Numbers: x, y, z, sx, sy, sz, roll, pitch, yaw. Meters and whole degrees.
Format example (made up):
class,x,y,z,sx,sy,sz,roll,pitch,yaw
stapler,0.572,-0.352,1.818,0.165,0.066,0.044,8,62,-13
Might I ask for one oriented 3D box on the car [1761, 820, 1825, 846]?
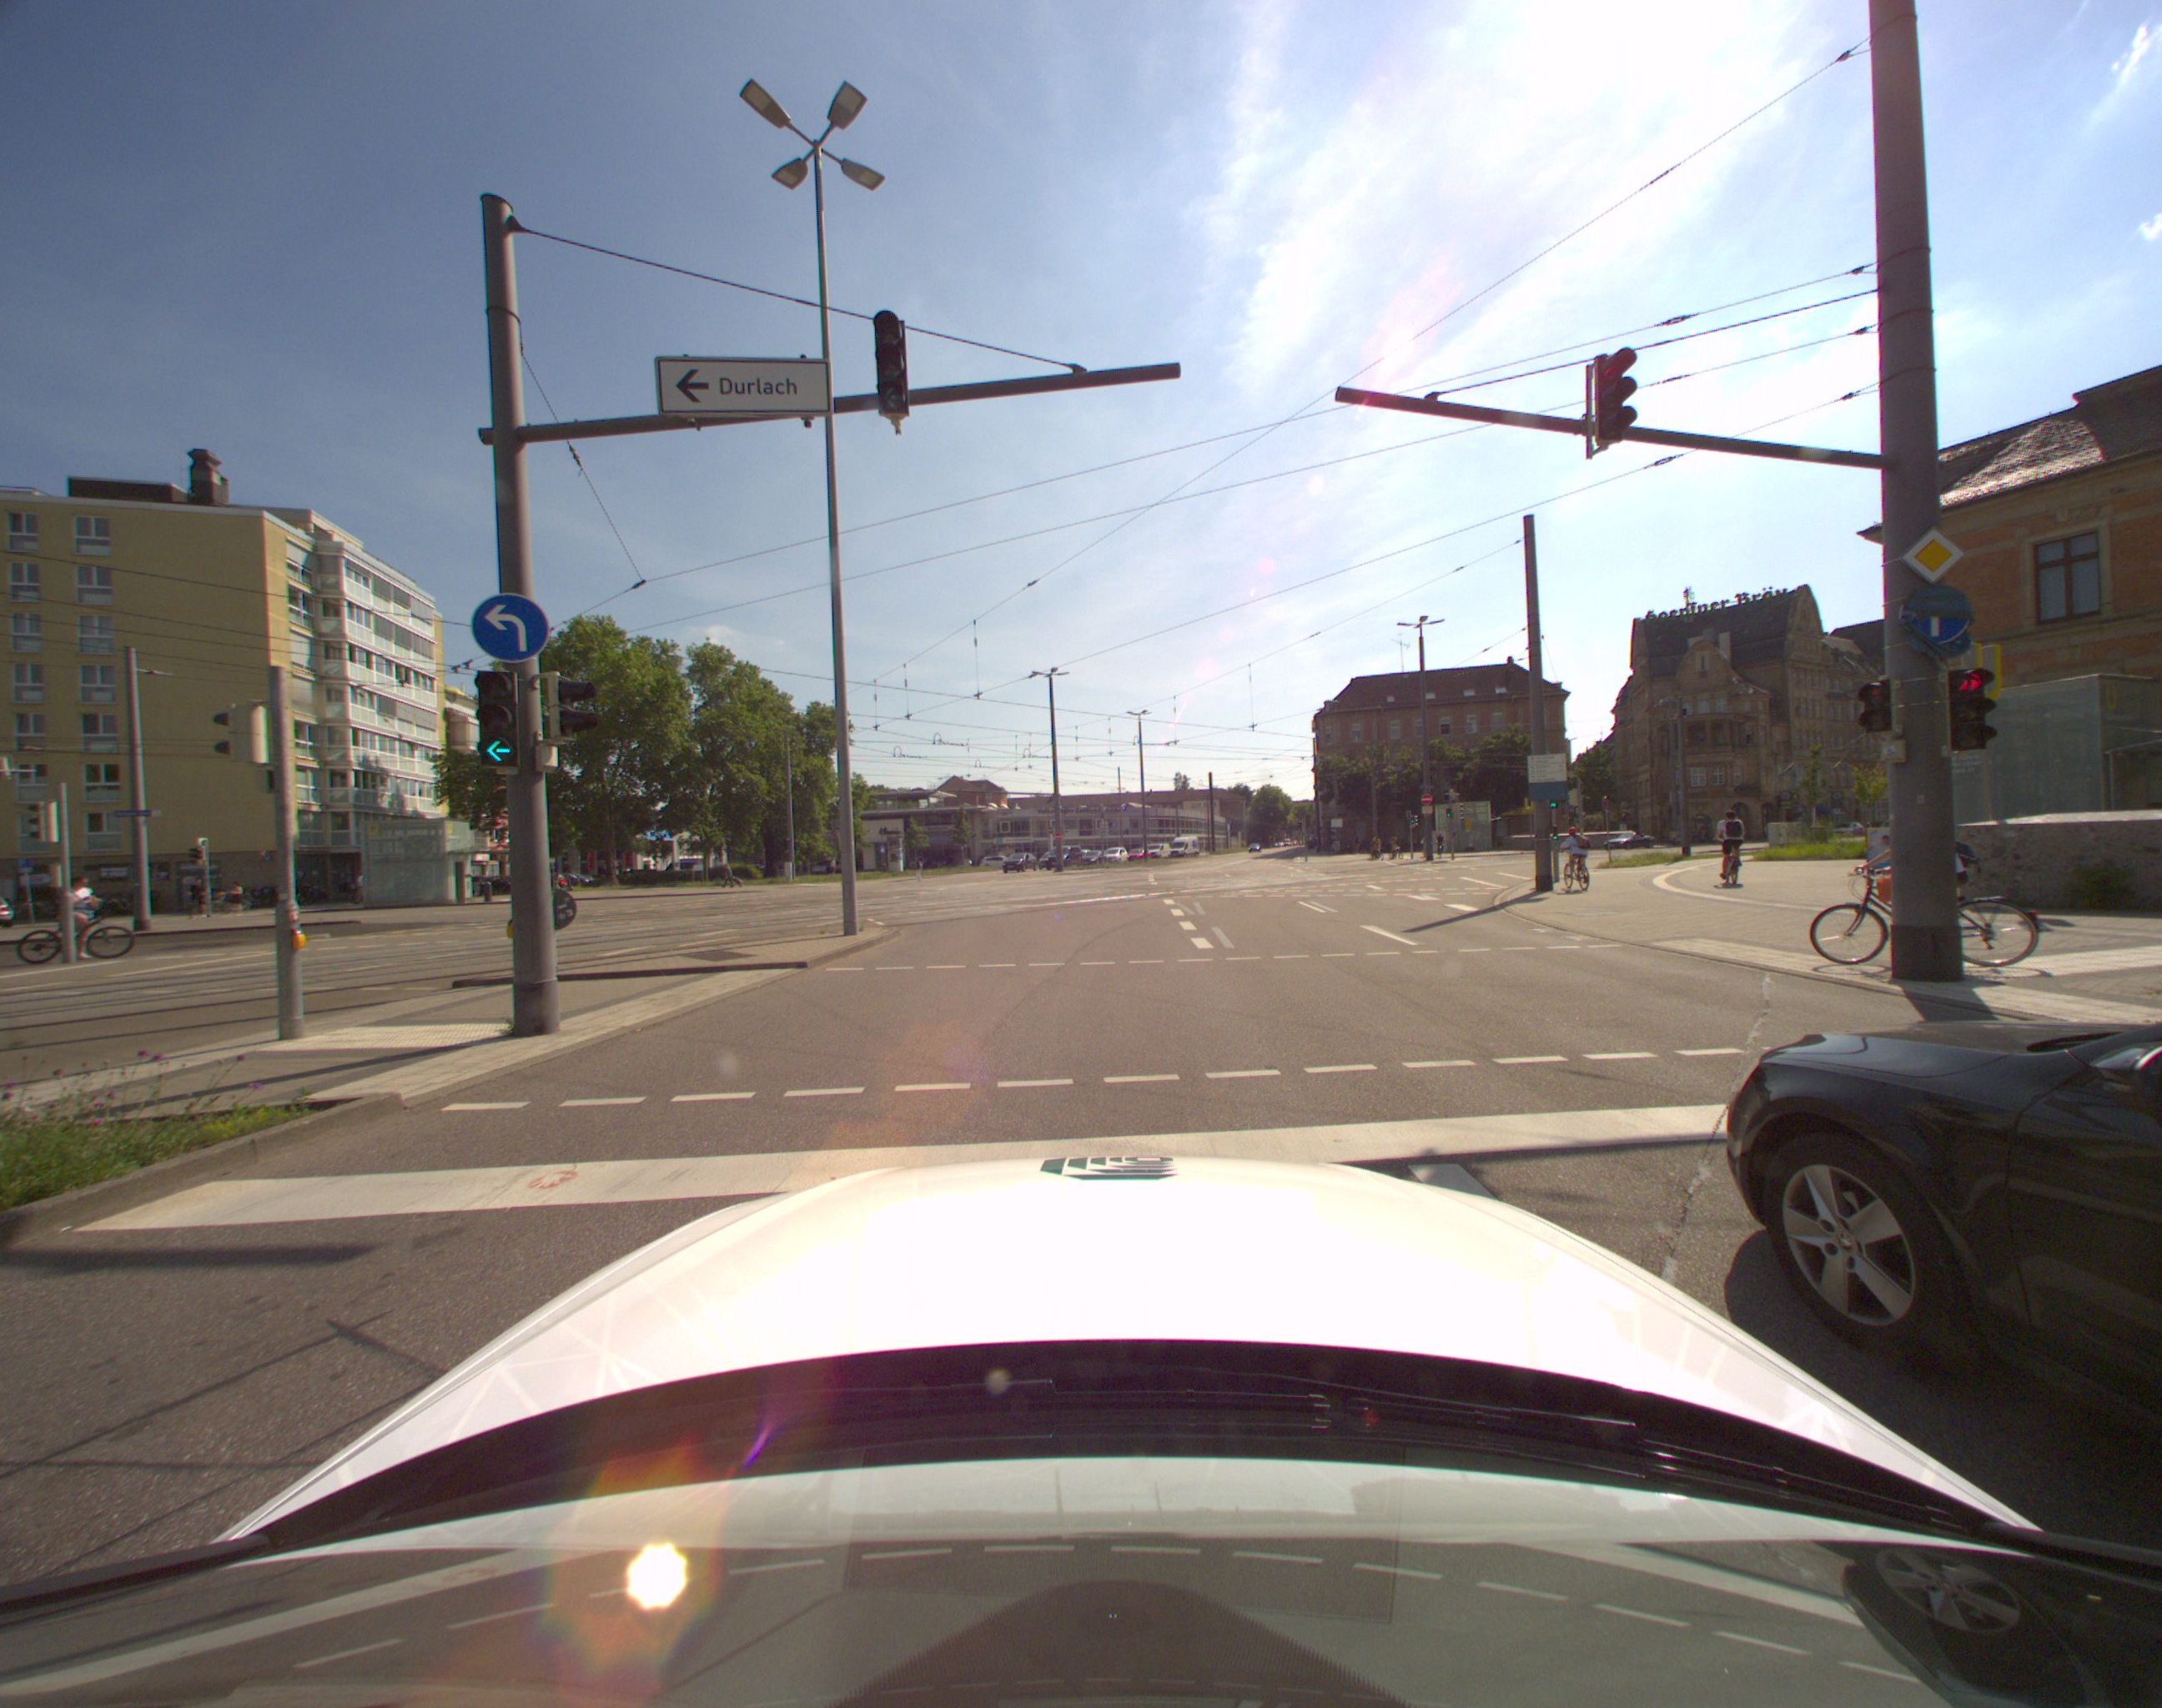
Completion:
class,x,y,z,sx,sy,sz,roll,pitch,yaw
car,39.132,-1.157,44.758,3.464,1.313,1.655,-3,0,-32

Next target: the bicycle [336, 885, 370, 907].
class,x,y,z,sx,sy,sz,roll,pitch,yaw
bicycle,-44.386,2.539,49.677,0.581,1.219,1.754,-3,1,-5

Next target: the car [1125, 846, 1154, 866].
class,x,y,z,sx,sy,sz,roll,pitch,yaw
car,6.143,0.217,85.369,1.879,1.917,4.220,-3,-1,19

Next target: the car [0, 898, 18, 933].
class,x,y,z,sx,sy,sz,roll,pitch,yaw
car,-49.267,2.827,36.501,3.948,1.440,1.825,-5,-2,35

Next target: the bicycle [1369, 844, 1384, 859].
class,x,y,z,sx,sy,sz,roll,pitch,yaw
bicycle,22.427,-0.191,61.851,0.919,1.069,2.758,-1,-1,16

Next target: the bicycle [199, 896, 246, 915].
class,x,y,z,sx,sy,sz,roll,pitch,yaw
bicycle,-48.414,2.903,45.932,1.751,0.965,0.582,-3,1,-11

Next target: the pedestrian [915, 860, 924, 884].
class,x,y,z,sx,sy,sz,roll,pitch,yaw
pedestrian,-10.656,1.171,53.595,0.456,1.605,0.396,0,-1,-34

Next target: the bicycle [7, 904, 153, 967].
class,x,y,z,sx,sy,sz,roll,pitch,yaw
bicycle,-20.916,1.687,17.049,1.843,1.083,0.749,-4,0,-9

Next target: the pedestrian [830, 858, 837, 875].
class,x,y,z,sx,sy,sz,roll,pitch,yaw
pedestrian,-23.078,1.181,76.025,0.388,1.596,0.467,-1,-1,25

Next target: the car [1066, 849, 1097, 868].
class,x,y,z,sx,sy,sz,roll,pitch,yaw
car,0.084,0.442,78.289,1.638,1.739,4.220,-3,-1,19

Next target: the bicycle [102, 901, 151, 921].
class,x,y,z,sx,sy,sz,roll,pitch,yaw
bicycle,-52.063,3.104,44.447,1.750,0.916,0.582,-3,1,-8

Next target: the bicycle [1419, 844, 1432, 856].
class,x,y,z,sx,sy,sz,roll,pitch,yaw
bicycle,25.919,-0.323,61.339,0.497,0.866,1.590,0,0,7

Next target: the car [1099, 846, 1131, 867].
class,x,y,z,sx,sy,sz,roll,pitch,yaw
car,3.281,0.275,78.535,1.879,1.917,4.220,-3,-1,19

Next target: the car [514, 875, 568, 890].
class,x,y,z,sx,sy,sz,roll,pitch,yaw
car,-49.703,2.605,74.982,3.729,1.340,1.735,0,-1,-15

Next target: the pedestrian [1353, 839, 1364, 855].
class,x,y,z,sx,sy,sz,roll,pitch,yaw
pedestrian,24.976,-0.637,73.411,0.616,1.433,0.705,0,-1,-36

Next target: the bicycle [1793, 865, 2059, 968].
class,x,y,z,sx,sy,sz,roll,pitch,yaw
bicycle,9.297,0.706,9.092,1.894,1.015,0.721,-5,-1,35

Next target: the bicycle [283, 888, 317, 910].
class,x,y,z,sx,sy,sz,roll,pitch,yaw
bicycle,-46.284,2.674,48.300,0.540,1.186,1.881,-2,0,-13

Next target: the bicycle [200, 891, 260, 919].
class,x,y,z,sx,sy,sz,roll,pitch,yaw
bicycle,-39.259,2.351,37.601,0.749,1.130,1.798,-2,0,3

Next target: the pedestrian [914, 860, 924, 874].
class,x,y,z,sx,sy,sz,roll,pitch,yaw
pedestrian,-17.921,1.406,90.148,0.951,1.580,0.534,0,-1,-2

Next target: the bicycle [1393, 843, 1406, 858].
class,x,y,z,sx,sy,sz,roll,pitch,yaw
bicycle,23.828,-0.285,60.914,0.918,1.069,2.856,-1,1,21

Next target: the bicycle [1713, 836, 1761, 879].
class,x,y,z,sx,sy,sz,roll,pitch,yaw
bicycle,16.357,0.085,20.356,0.707,1.015,2.033,-1,-1,33

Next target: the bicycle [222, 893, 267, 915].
class,x,y,z,sx,sy,sz,roll,pitch,yaw
bicycle,-46.956,2.796,45.729,1.747,1.085,0.583,-3,3,-4

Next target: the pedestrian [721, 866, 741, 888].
class,x,y,z,sx,sy,sz,roll,pitch,yaw
pedestrian,-22.220,1.448,51.712,1.117,1.404,0.652,0,-1,-20

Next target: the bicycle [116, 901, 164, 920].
class,x,y,z,sx,sy,sz,roll,pitch,yaw
bicycle,-51.985,3.108,45.010,1.750,0.916,0.582,-3,1,-8

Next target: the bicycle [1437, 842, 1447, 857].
class,x,y,z,sx,sy,sz,roll,pitch,yaw
bicycle,26.885,-0.366,60.592,0.661,1.069,2.478,-1,1,24

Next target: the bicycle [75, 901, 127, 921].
class,x,y,z,sx,sy,sz,roll,pitch,yaw
bicycle,-53.560,3.116,44.519,1.754,0.916,0.581,-3,1,-15

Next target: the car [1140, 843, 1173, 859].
class,x,y,z,sx,sy,sz,roll,pitch,yaw
car,8.590,-0.330,92.409,2.165,1.680,5.058,-3,0,24

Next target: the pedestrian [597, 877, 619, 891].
class,x,y,z,sx,sy,sz,roll,pitch,yaw
pedestrian,-33.162,2.120,57.098,1.175,0.892,0.818,-2,0,-18

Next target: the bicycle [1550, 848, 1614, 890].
class,x,y,z,sx,sy,sz,roll,pitch,yaw
bicycle,13.564,0.386,22.108,0.710,1.015,2.026,-5,0,10

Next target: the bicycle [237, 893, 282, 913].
class,x,y,z,sx,sy,sz,roll,pitch,yaw
bicycle,-46.809,2.788,46.391,1.750,1.043,0.582,-3,1,-9

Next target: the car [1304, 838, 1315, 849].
class,x,y,z,sx,sy,sz,roll,pitch,yaw
car,46.291,-2.130,164.833,2.092,2.013,4.018,-2,0,16

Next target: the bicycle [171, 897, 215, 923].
class,x,y,z,sx,sy,sz,roll,pitch,yaw
bicycle,-40.931,2.566,37.563,0.584,1.130,1.784,-3,-1,-21
